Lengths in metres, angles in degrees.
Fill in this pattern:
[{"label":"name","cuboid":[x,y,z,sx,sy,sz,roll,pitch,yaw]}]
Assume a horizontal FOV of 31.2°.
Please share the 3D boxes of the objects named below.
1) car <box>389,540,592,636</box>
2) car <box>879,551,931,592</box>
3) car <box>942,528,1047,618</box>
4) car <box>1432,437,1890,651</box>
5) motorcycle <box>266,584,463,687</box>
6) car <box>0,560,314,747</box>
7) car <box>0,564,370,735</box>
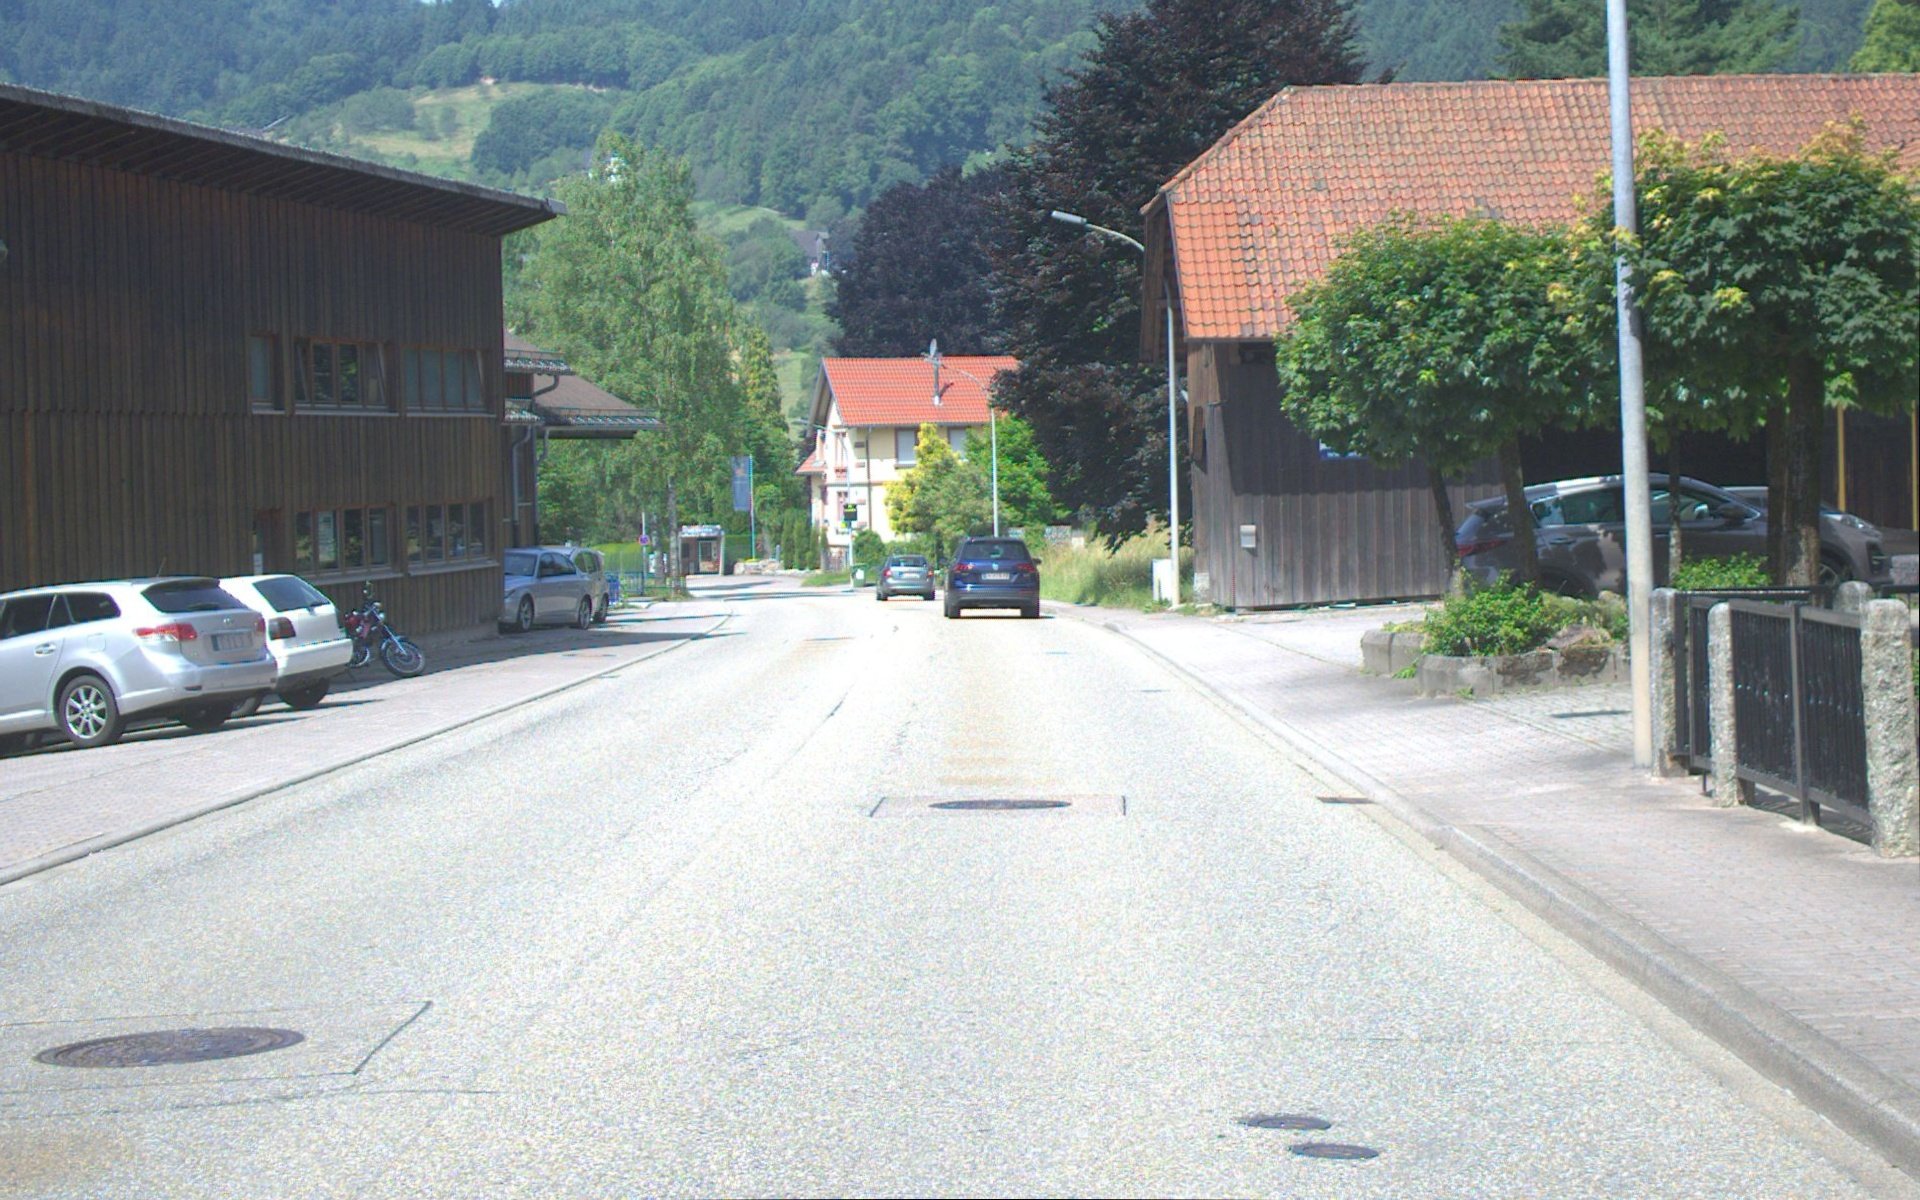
[{"label":"car","cuboid":[-7.949,-0.231,58.701,1.730,1.449,4.802,-1,2,14]},{"label":"car","cuboid":[-1.760,-0.919,110.142,1.476,1.205,2.384,-3,1,-4]},{"label":"car","cuboid":[0.662,-0.550,68.871,1.919,1.692,3.788,-2,1,-1]},{"label":"car","cuboid":[7.070,-0.571,34.991,4.221,1.681,1.776,-6,1,4]},{"label":"motorcycle","cuboid":[-7.856,0.470,45.357,2.410,1.260,0.743,-2,1,11]},{"label":"car","cuboid":[-8.470,0.568,32.088,4.435,1.469,1.922,-5,1,26]},{"label":"car","cuboid":[-8.070,0.506,34.768,3.661,1.381,1.710,-5,0,16]}]
